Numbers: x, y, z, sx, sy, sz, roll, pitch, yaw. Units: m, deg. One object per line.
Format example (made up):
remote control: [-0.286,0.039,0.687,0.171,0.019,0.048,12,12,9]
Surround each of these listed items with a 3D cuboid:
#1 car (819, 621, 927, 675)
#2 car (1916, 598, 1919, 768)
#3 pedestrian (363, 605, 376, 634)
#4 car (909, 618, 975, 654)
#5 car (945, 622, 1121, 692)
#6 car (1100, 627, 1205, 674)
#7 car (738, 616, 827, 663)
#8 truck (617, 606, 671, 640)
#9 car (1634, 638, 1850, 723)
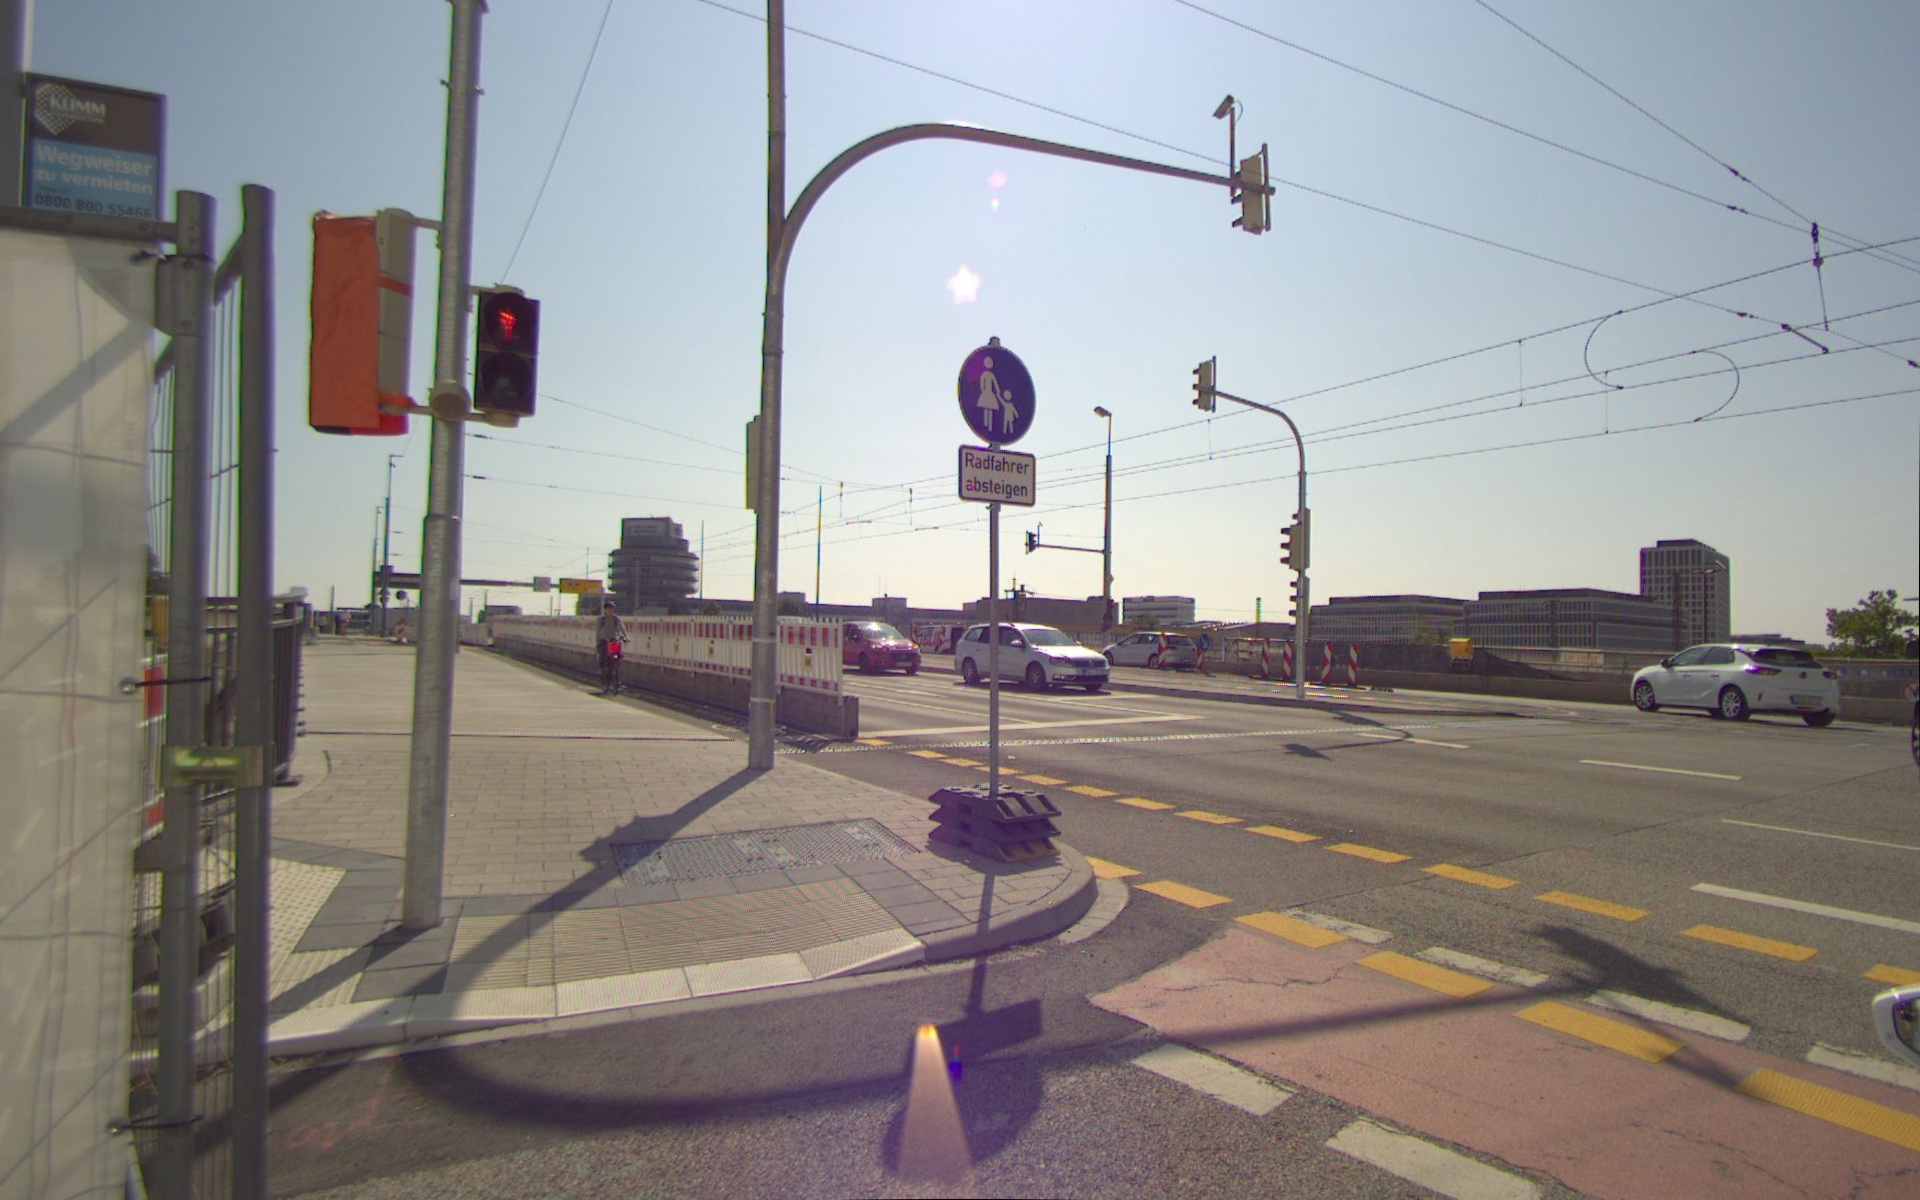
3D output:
car: [-2.628,1.378,29.599,1.522,1.456,3.944,2,-2,-33]
car: [10.577,0.888,9.465,1.792,1.931,4.039,0,-2,37]
pedestrian: [-40.217,1.330,68.442,0.629,1.918,0.746,4,-3,-32]
car: [-1.159,2.219,61.912,1.864,2.059,4.851,4,-4,-30]
car: [1.564,1.257,23.348,1.626,1.456,4.601,2,-2,-33]
car: [7.044,1.842,37.030,1.705,1.552,3.665,4,-3,-32]
car: [-6.358,1.368,35.602,1.656,1.570,4.519,2,-2,-30]
truck: [-31.710,2.268,100.403,2.441,3.176,11.118,3,-2,-32]
car: [15.076,1.508,19.596,1.688,1.423,3.414,2,-2,4]
